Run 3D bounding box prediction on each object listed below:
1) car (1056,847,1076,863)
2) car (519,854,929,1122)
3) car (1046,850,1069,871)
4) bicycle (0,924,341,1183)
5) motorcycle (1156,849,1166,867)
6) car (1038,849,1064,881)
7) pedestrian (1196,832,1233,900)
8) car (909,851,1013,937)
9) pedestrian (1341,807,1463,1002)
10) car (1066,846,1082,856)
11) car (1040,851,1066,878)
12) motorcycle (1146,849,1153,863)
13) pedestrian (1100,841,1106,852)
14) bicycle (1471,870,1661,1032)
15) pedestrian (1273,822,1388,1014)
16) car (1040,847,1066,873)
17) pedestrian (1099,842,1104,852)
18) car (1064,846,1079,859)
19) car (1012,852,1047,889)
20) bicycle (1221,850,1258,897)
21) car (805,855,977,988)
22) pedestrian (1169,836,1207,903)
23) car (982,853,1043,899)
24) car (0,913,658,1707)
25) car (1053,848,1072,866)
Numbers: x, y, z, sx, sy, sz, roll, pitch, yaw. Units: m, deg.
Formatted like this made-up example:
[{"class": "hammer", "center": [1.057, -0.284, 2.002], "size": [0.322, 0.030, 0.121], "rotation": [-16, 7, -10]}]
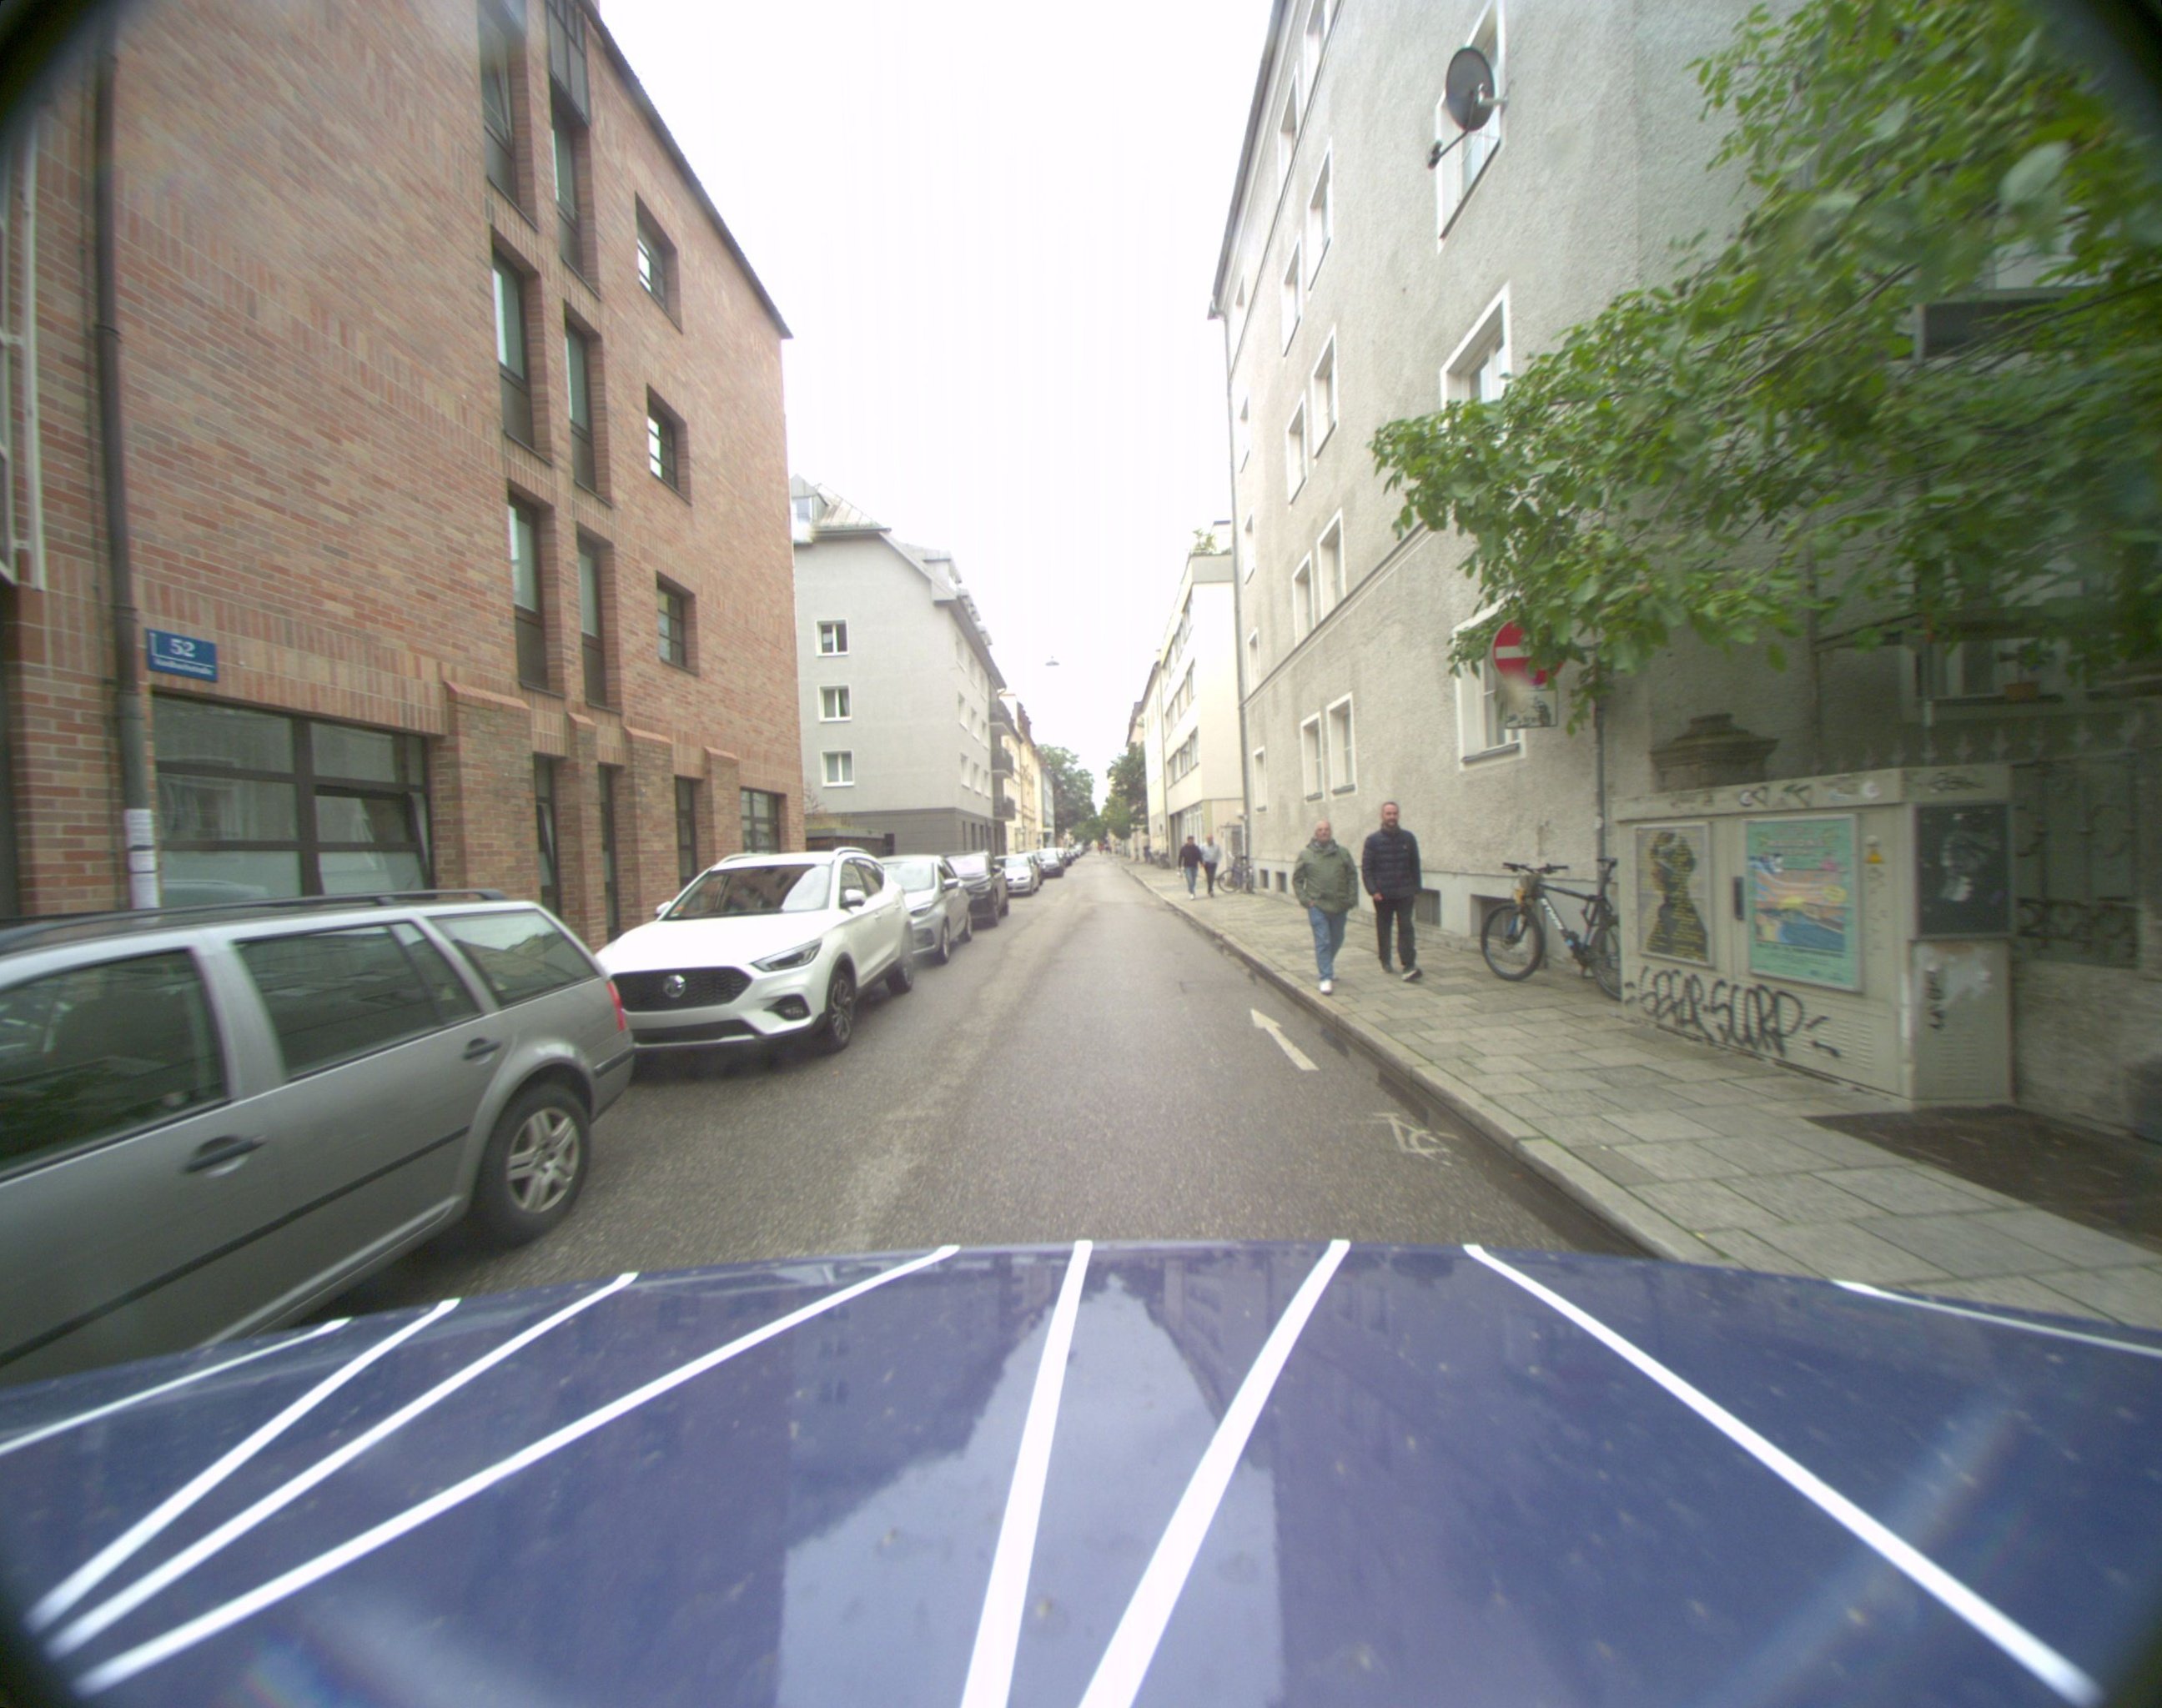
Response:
[{"class": "car", "center": [-1.332, 0.097, 66.547], "size": [1.525, 1.259, 3.210], "rotation": [-4, 1, 2]}, {"class": "car", "center": [-2.792, 0.890, 7.244], "size": [1.725, 1.606, 4.454], "rotation": [-4, 1, 0]}, {"class": "car", "center": [-1.580, 0.431, 51.966], "size": [1.352, 1.259, 3.036], "rotation": [-4, 1, 2]}, {"class": "bicycle", "center": [-5.994, 1.146, 4.747], "size": [0.741, 1.210, 1.781], "rotation": [-1, 2, 15]}, {"class": "motorcycle", "center": [4.627, 0.212, 44.034], "size": [0.324, 0.968, 1.961], "rotation": [-4, 1, 2]}, {"class": "car", "center": [-1.452, 0.537, 37.277], "size": [1.043, 1.429, 2.251], "rotation": [-4, 1, 2]}, {"class": "pedestrian", "center": [3.589, 0.313, 20.448], "size": [0.695, 1.718, 0.841], "rotation": [-6, 1, 2]}, {"class": "car", "center": [-2.538, 0.778, 16.946], "size": [1.619, 1.570, 4.051], "rotation": [-4, 1, 0]}, {"class": "pedestrian", "center": [3.108, 0.467, 7.415], "size": [0.692, 1.753, 0.741], "rotation": [-5, 1, -9]}, {"class": "car", "center": [-0.958, -0.445, 105.402], "size": [1.998, 1.259, 4.000], "rotation": [-4, 1, 2]}, {"class": "car", "center": [-1.491, 0.527, 41.166], "size": [1.190, 1.312, 2.779], "rotation": [-4, 1, 2]}, {"class": "motorcycle", "center": [4.849, 0.127, 53.627], "size": [0.324, 0.968, 1.961], "rotation": [-4, 1, 2]}, {"class": "pedestrian", "center": [4.042, -1.342, 137.390], "size": [0.861, 2.002, 0.787], "rotation": [-3, 1, 14]}, {"class": "bicycle", "center": [3.950, 0.723, 6.354], "size": [0.432, 1.089, 1.703], "rotation": [-4, 1, 0]}, {"class": "pedestrian", "center": [2.351, 0.572, 7.254], "size": [0.691, 1.668, 0.859], "rotation": [-5, 1, -1]}, {"class": "car", "center": [-1.736, 0.354, 47.795], "size": [1.352, 1.505, 3.036], "rotation": [-4, 1, 2]}, {"class": "pedestrian", "center": [3.746, -1.230, 136.551], "size": [0.696, 1.834, 0.691], "rotation": [-3, 1, 16]}, {"class": "car", "center": [-1.060, -0.199, 87.912], "size": [1.557, 1.281, 3.537], "rotation": [-4, 1, 2]}, {"class": "car", "center": [-2.133, 0.663, 32.119], "size": [1.154, 1.368, 2.685], "rotation": [-4, 1, 2]}, {"class": "bicycle", "center": [4.280, 0.502, 20.608], "size": [0.450, 1.187, 1.498], "rotation": [-4, 1, -8]}, {"class": "car", "center": [-2.700, 0.869, 11.673], "size": [1.619, 1.549, 3.807], "rotation": [-4, 1, 0]}, {"class": "pedestrian", "center": [2.872, 0.401, 20.459], "size": [0.721, 1.718, 0.841], "rotation": [-6, 1, 2]}, {"class": "car", "center": [-2.339, 0.726, 26.817], "size": [1.619, 1.369, 3.817], "rotation": [-4, 1, 2]}, {"class": "car", "center": [-3.052, 1.098, 1.683], "size": [1.725, 1.427, 4.358], "rotation": [-4, 1, 0]}, {"class": "car", "center": [-1.483, 0.217, 61.641], "size": [1.352, 1.259, 3.036], "rotation": [-4, 1, 2]}]
